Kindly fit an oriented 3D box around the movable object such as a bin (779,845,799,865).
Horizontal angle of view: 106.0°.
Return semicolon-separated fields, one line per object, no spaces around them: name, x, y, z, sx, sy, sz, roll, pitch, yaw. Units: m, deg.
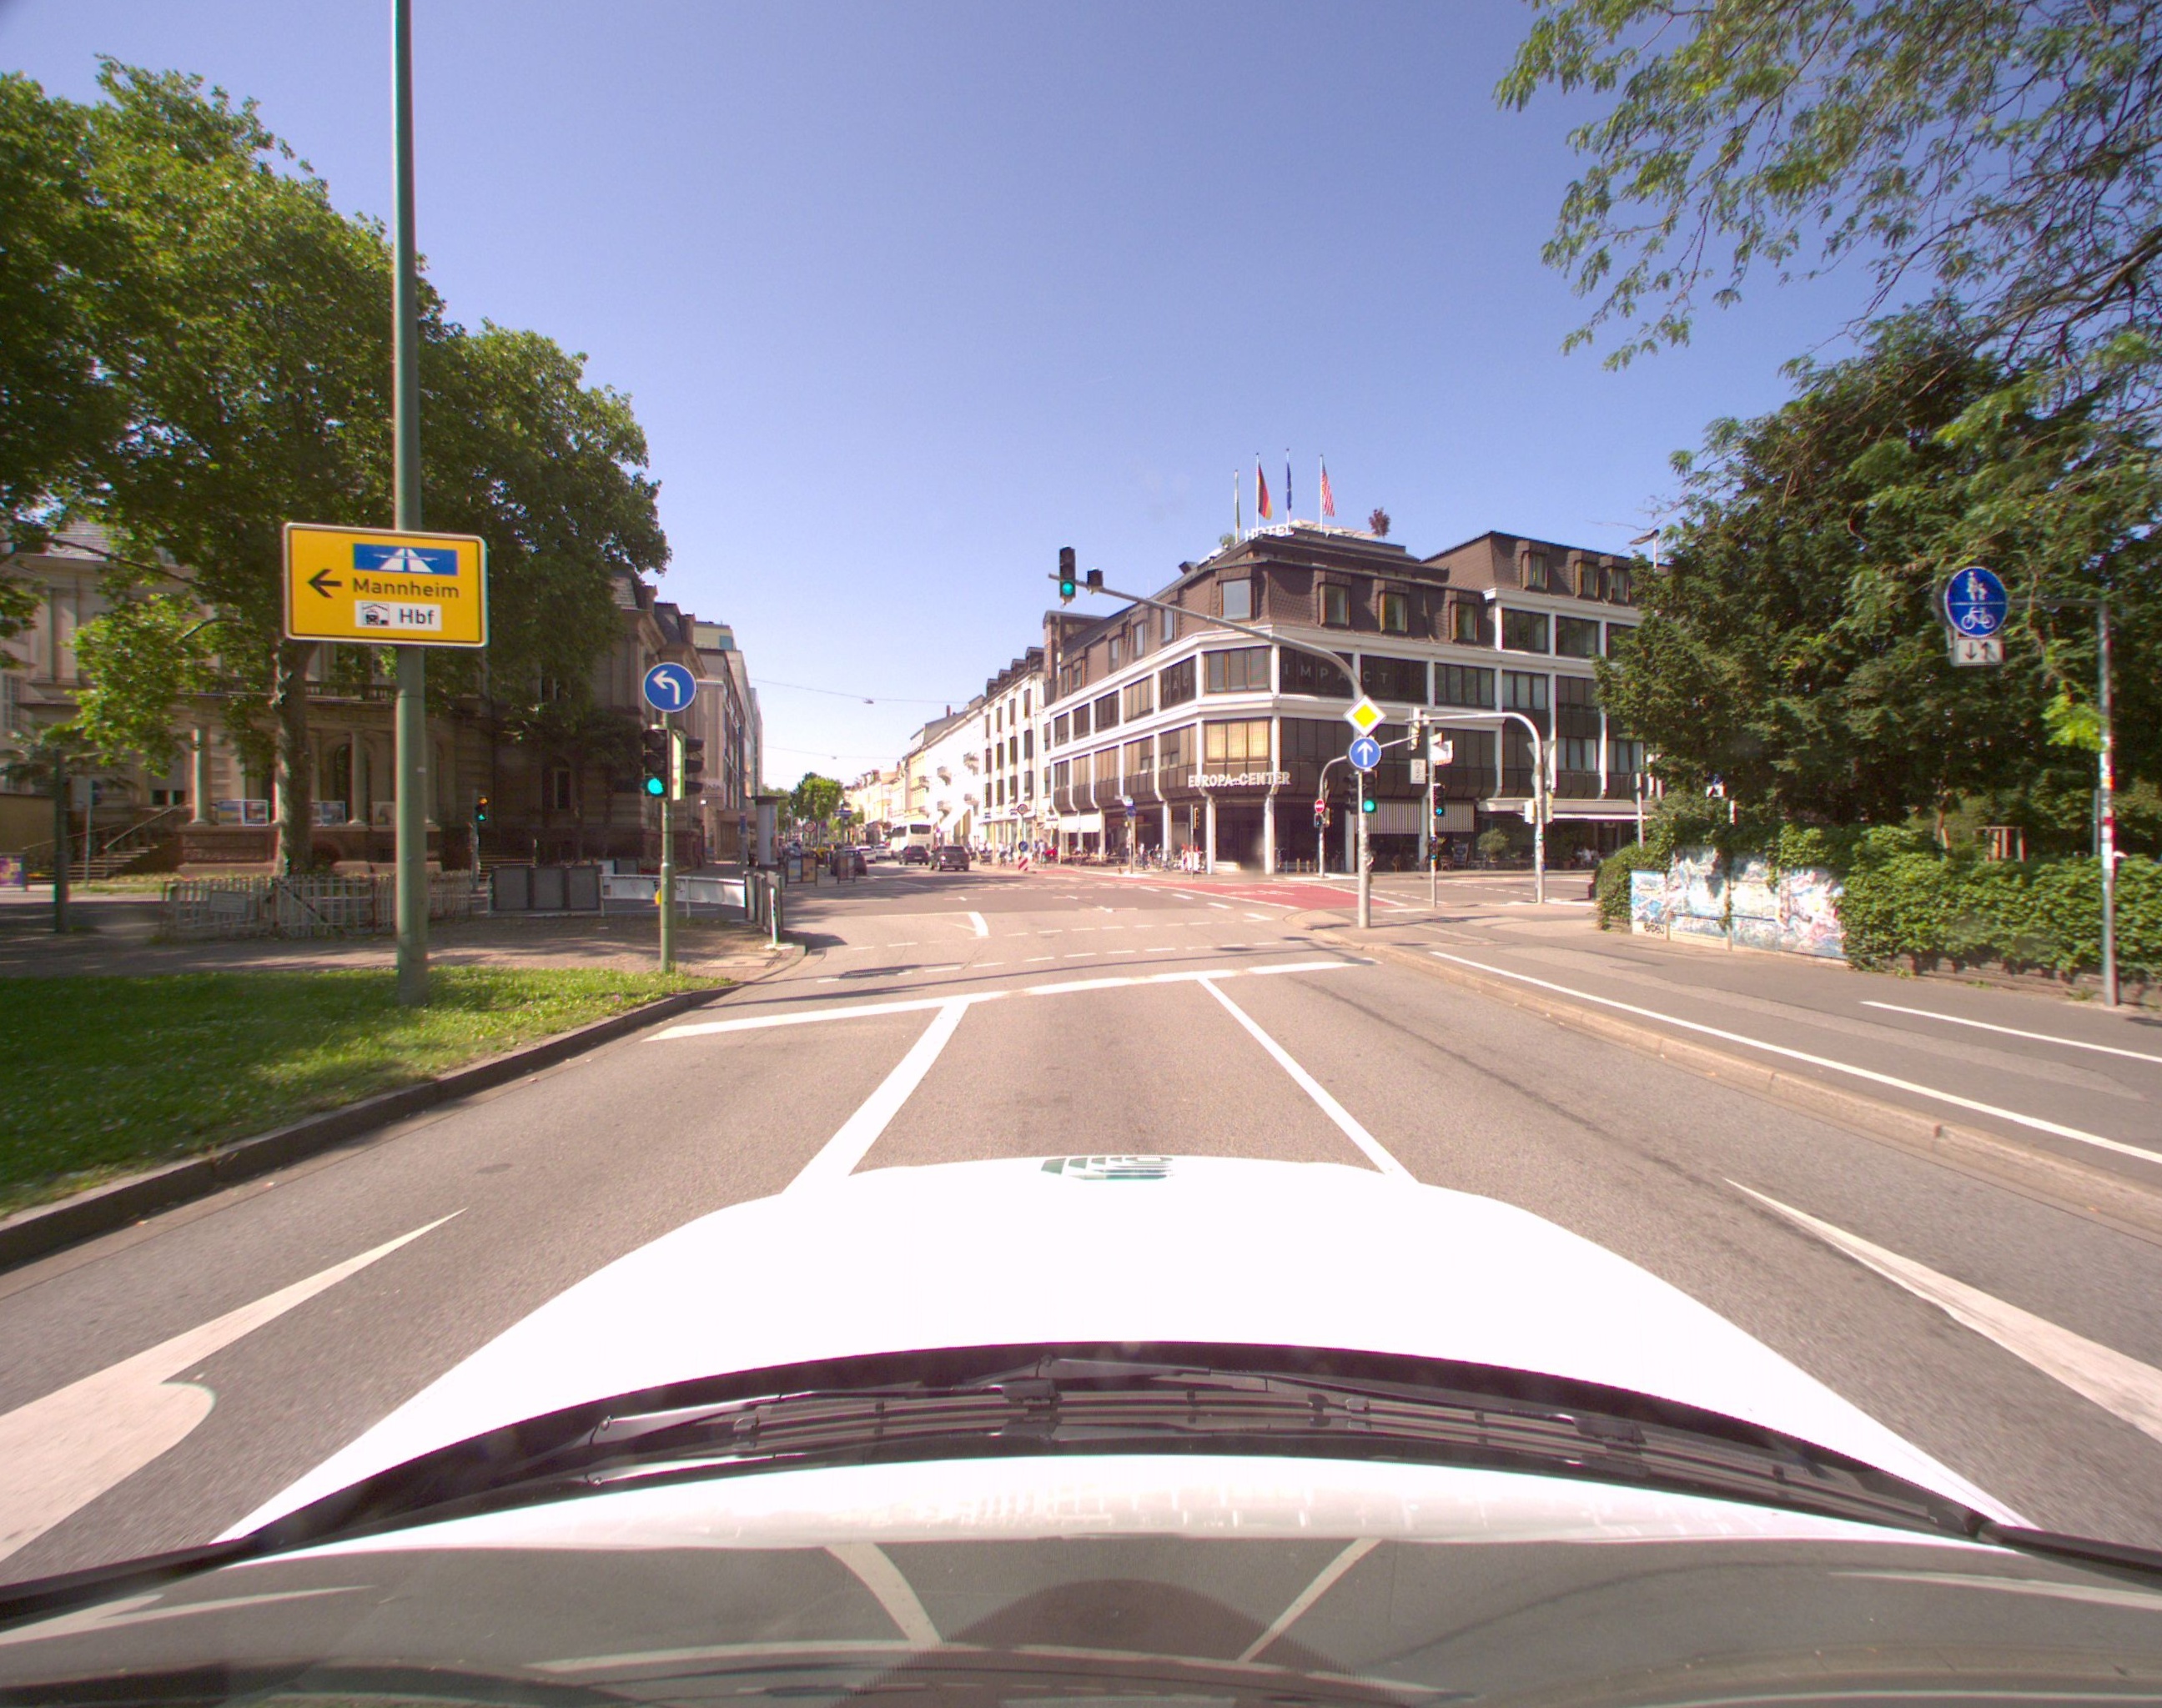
movable object such as a bin;-21.404;0.077;59.710;1.211;1.450;1.357;1;1;-15

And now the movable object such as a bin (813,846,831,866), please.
movable object such as a bin;-19.157;0.131;60.202;1.125;1.450;1.432;1;1;-15

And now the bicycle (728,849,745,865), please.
bicycle;-23.659;0.181;55.978;0.493;1.062;2.003;0;0;-40

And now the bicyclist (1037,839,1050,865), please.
bicyclist;-2.412;-0.135;52.154;0.695;1.625;0.832;-1;1;-13

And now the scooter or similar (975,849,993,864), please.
scooter or similar;-7.350;0.167;61.909;0.966;1.135;1.574;0;0;-23

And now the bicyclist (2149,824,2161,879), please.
bicyclist;31.113;-0.077;22.933;0.939;1.575;0.866;-1;-1;-7

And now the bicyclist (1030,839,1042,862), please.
bicyclist;-3.044;-0.229;55.046;0.622;1.529;0.864;0;0;-18

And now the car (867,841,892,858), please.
car;-19.654;-0.406;79.247;1.840;1.527;3.972;-2;0;-21

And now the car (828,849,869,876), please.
car;-12.995;0.435;45.330;1.942;1.354;4.223;-1;1;-19

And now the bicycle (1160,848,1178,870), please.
bicycle;4.658;0.236;43.340;0.277;1.120;2.234;-1;1;-12

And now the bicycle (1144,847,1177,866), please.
bicycle;4.597;0.140;46.878;2.252;1.097;0.275;-1;1;-34

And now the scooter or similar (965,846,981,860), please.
scooter or similar;-9.185;-0.092;69.470;1.126;1.101;1.077;0;0;-22

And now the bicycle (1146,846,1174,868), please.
bicycle;4.410;0.155;45.441;1.547;1.206;0.276;0;1;-14

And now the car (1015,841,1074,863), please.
car;-2.766;-0.167;61.601;4.057;1.495;1.830;-1;-1;-19

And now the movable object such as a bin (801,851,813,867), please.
movable object such as a bin;-19.690;0.342;58.499;0.727;1.098;0.650;1;1;-28

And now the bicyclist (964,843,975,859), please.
bicyclist;-9.734;-0.266;70.992;0.790;1.378;0.717;0;0;-22

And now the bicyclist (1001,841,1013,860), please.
bicyclist;-5.320;-0.267;58.252;0.623;1.355;0.840;0;0;-22

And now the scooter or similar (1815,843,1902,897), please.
scooter or similar;19.616;0.401;20.558;1.694;1.298;0.817;-1;-1;-16

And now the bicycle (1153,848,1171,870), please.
bicycle;4.294;0.251;43.205;0.277;1.120;2.234;-1;1;-12

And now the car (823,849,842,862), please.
car;-29.477;0.195;96.476;1.870;1.441;3.972;-1;-1;-21

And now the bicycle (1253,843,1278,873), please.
bicycle;8.860;0.174;39.049;0.524;1.316;1.980;0;2;31

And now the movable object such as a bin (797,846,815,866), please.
movable object such as a bin;-20.247;0.153;59.901;1.125;1.450;1.432;1;1;-15

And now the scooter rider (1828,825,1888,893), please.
scooter rider;19.608;0.116;20.554;0.708;1.672;0.819;-1;-1;-15

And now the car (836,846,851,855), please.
car;-36.534;-0.560;125.376;1.870;1.441;3.972;-1;1;-21

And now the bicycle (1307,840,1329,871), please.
bicycle;11.524;0.070;39.605;0.524;1.422;1.980;0;2;31

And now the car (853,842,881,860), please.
car;-17.718;-0.251;67.304;1.869;1.441;3.973;-1;1;-20

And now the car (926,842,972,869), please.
car;-7.865;0.108;48.219;1.840;1.527;3.971;1;-1;-22

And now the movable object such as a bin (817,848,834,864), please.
movable object such as a bin;-20.901;0.143;66.681;1.281;1.299;0.847;0;1;-21

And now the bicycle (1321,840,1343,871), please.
bicycle;12.229;0.055;39.638;0.524;1.422;1.980;0;2;31

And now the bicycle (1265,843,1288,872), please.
bicycle;9.337;0.161;38.835;0.524;1.316;1.871;0;2;31

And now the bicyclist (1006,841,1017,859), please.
bicyclist;-5.172;-0.285;60.816;0.623;1.296;0.860;0;0;-22

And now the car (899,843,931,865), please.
car;-12.556;0.009;61.489;1.839;1.527;3.974;-2;0;-19

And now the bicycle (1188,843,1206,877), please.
bicycle;5.843;0.289;40.892;0.372;1.062;1.484;-1;33;25

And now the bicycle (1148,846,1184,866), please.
bicycle;4.841;0.124;46.314;2.249;1.120;0.275;-1;1;-28

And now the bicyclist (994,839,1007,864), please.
bicyclist;-5.518;-0.188;55.835;0.696;1.673;0.910;2;1;-19

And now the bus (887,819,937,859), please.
bus;-17.120;-1.469;81.586;2.892;3.742;12.338;1;0;-21

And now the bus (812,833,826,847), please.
bus;-70.359;-3.746;218.596;2.782;3.604;8.905;-1;1;-23
